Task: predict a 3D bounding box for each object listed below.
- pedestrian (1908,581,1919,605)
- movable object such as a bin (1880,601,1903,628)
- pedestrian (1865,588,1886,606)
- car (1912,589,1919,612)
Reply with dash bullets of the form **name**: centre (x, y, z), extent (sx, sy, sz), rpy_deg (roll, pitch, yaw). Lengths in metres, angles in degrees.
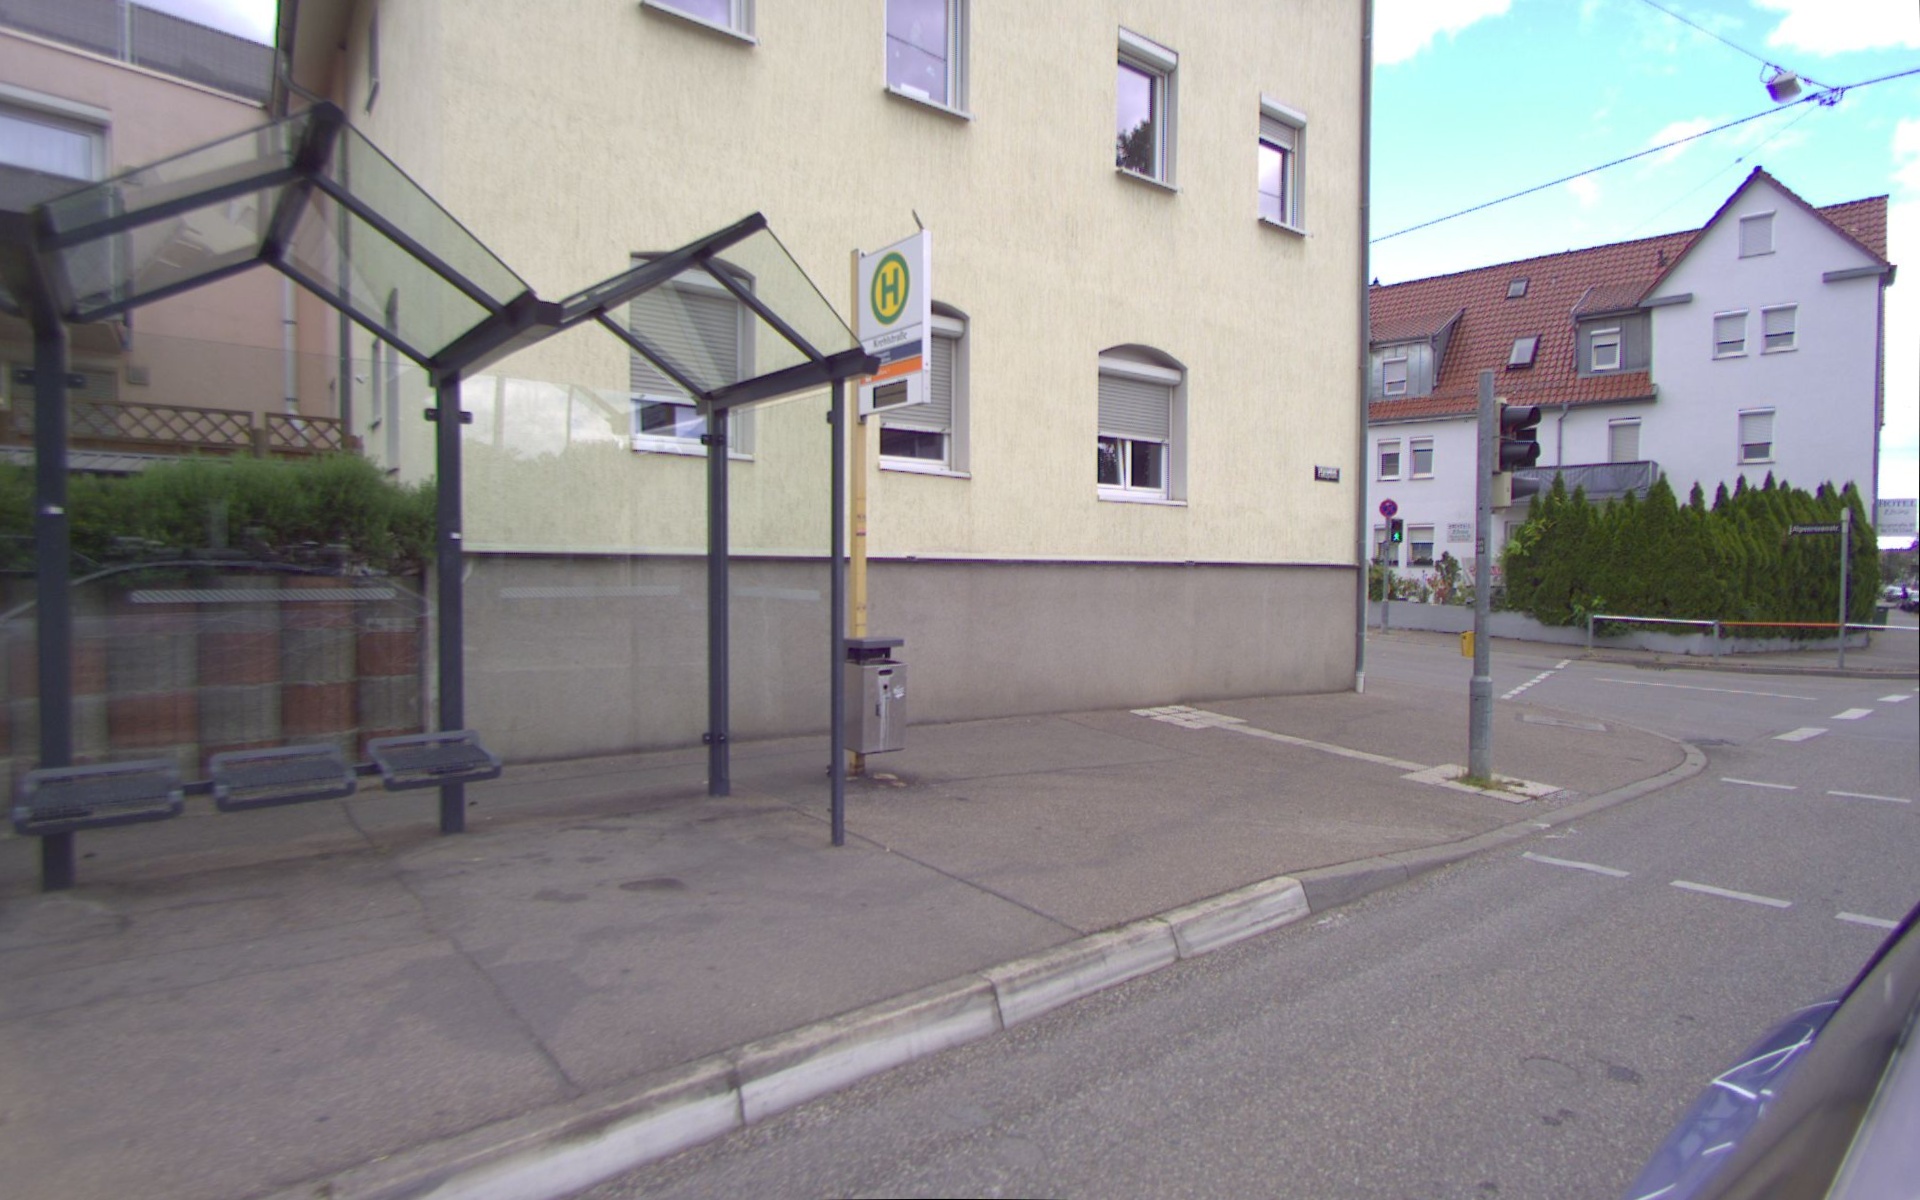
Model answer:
- **pedestrian**: centre (68.973, -0.506, 73.189), extent (0.496, 1.775, 0.444), rpy_deg (3, 2, 44)
- **movable object such as a bin**: centre (33.244, 0.509, 36.127), extent (0.564, 0.914, 0.511), rpy_deg (4, 3, 44)
- **pedestrian**: centre (67.081, -0.217, 74.122), extent (0.654, 1.295, 0.984), rpy_deg (0, 2, -34)
- **car**: centre (66.950, 0.019, 69.706), extent (1.839, 1.538, 3.941), rpy_deg (1, 1, 41)
